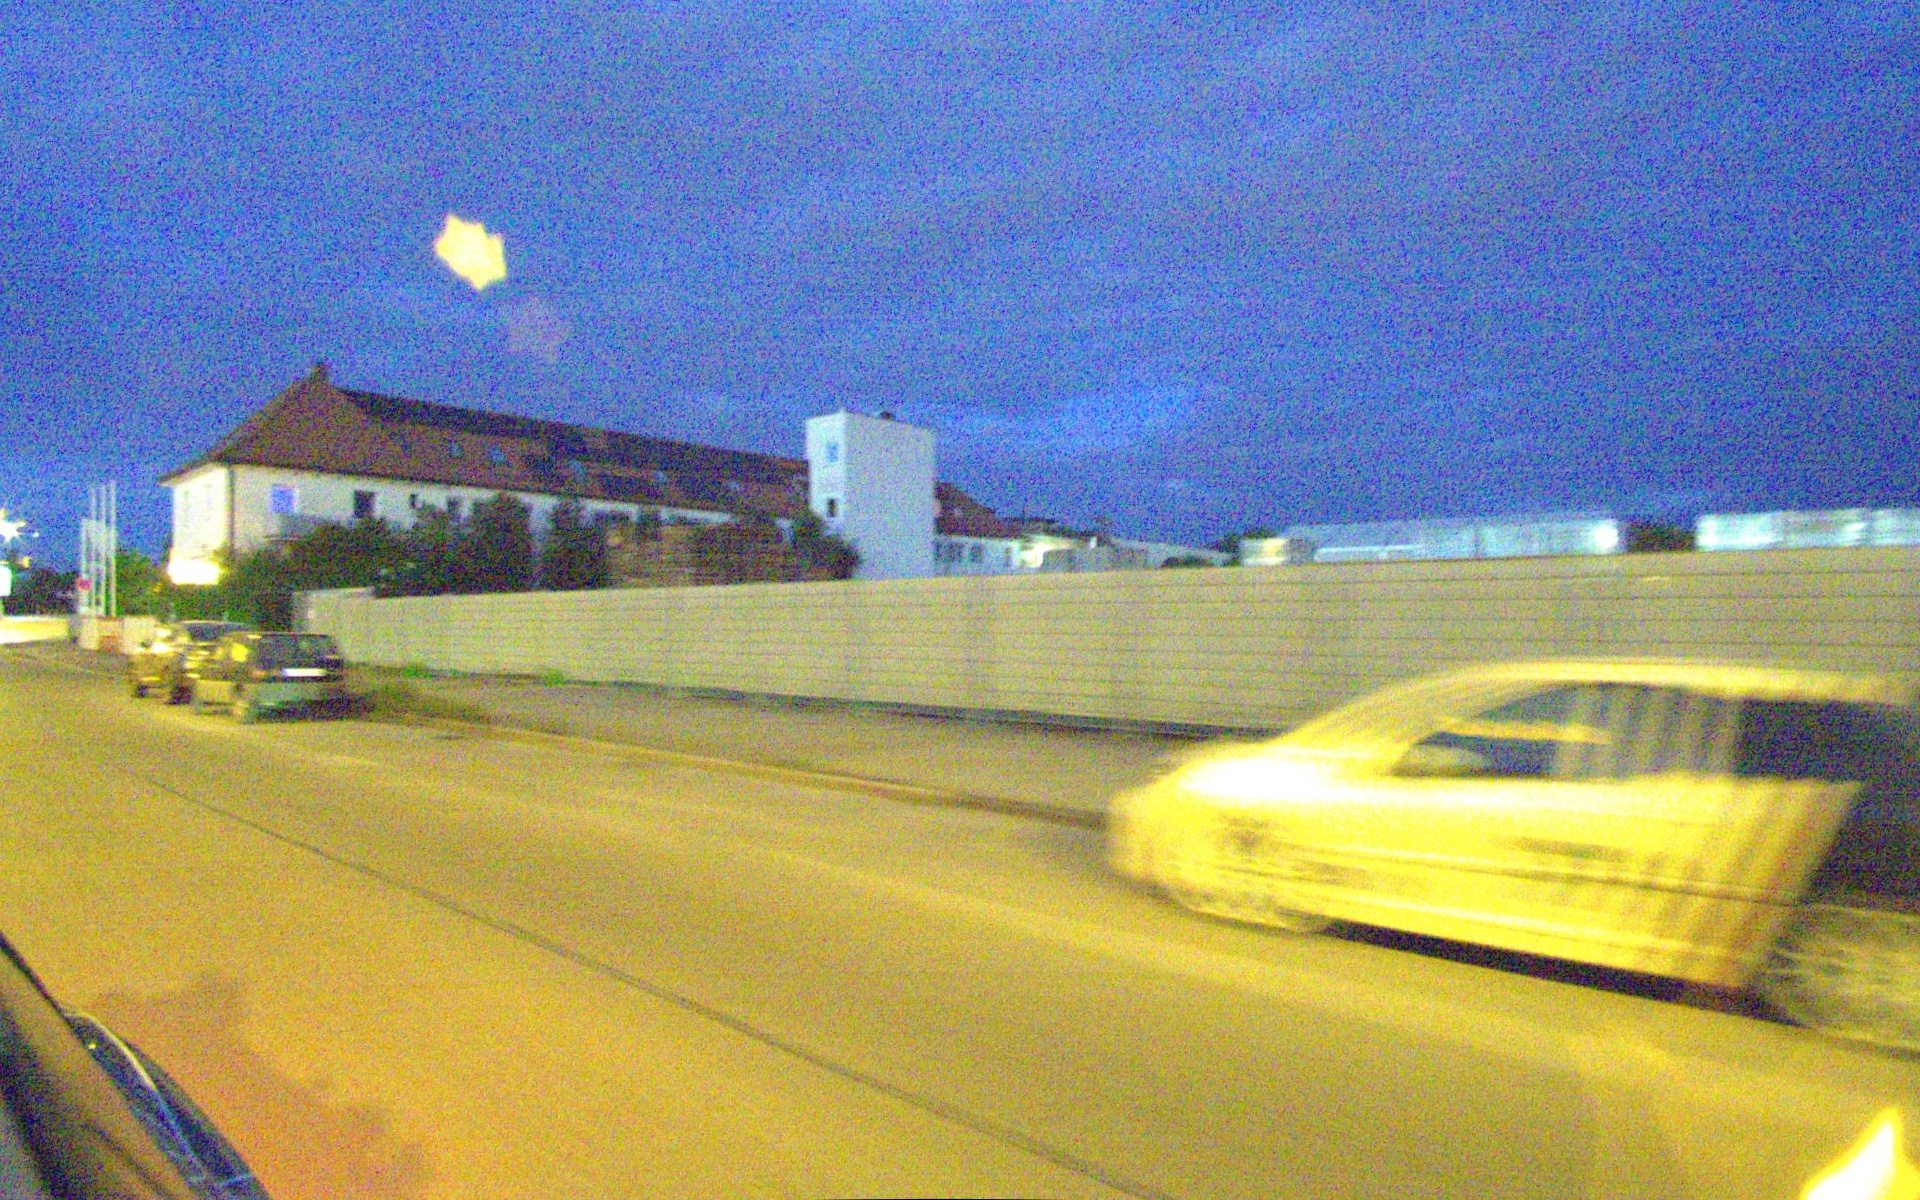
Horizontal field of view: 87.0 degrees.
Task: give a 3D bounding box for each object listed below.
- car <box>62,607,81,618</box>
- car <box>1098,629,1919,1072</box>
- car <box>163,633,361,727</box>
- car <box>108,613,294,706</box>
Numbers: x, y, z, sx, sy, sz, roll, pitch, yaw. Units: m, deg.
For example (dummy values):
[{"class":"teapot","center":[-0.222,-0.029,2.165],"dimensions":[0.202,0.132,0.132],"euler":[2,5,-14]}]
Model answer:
[{"class":"car","center":[-132.798,1.902,151.270],"dimensions":[1.909,1.564,4.008],"euler":[0,-1,-37]},{"class":"car","center":[2.842,0.873,4.847],"dimensions":[3.997,1.431,1.822],"euler":[-1,-1,41]},{"class":"car","center":[-11.795,1.259,17.014],"dimensions":[3.993,1.364,1.587],"euler":[-1,-1,37]},{"class":"car","center":[-15.531,1.112,20.614],"dimensions":[4.769,1.649,1.974],"euler":[0,-1,39]}]
